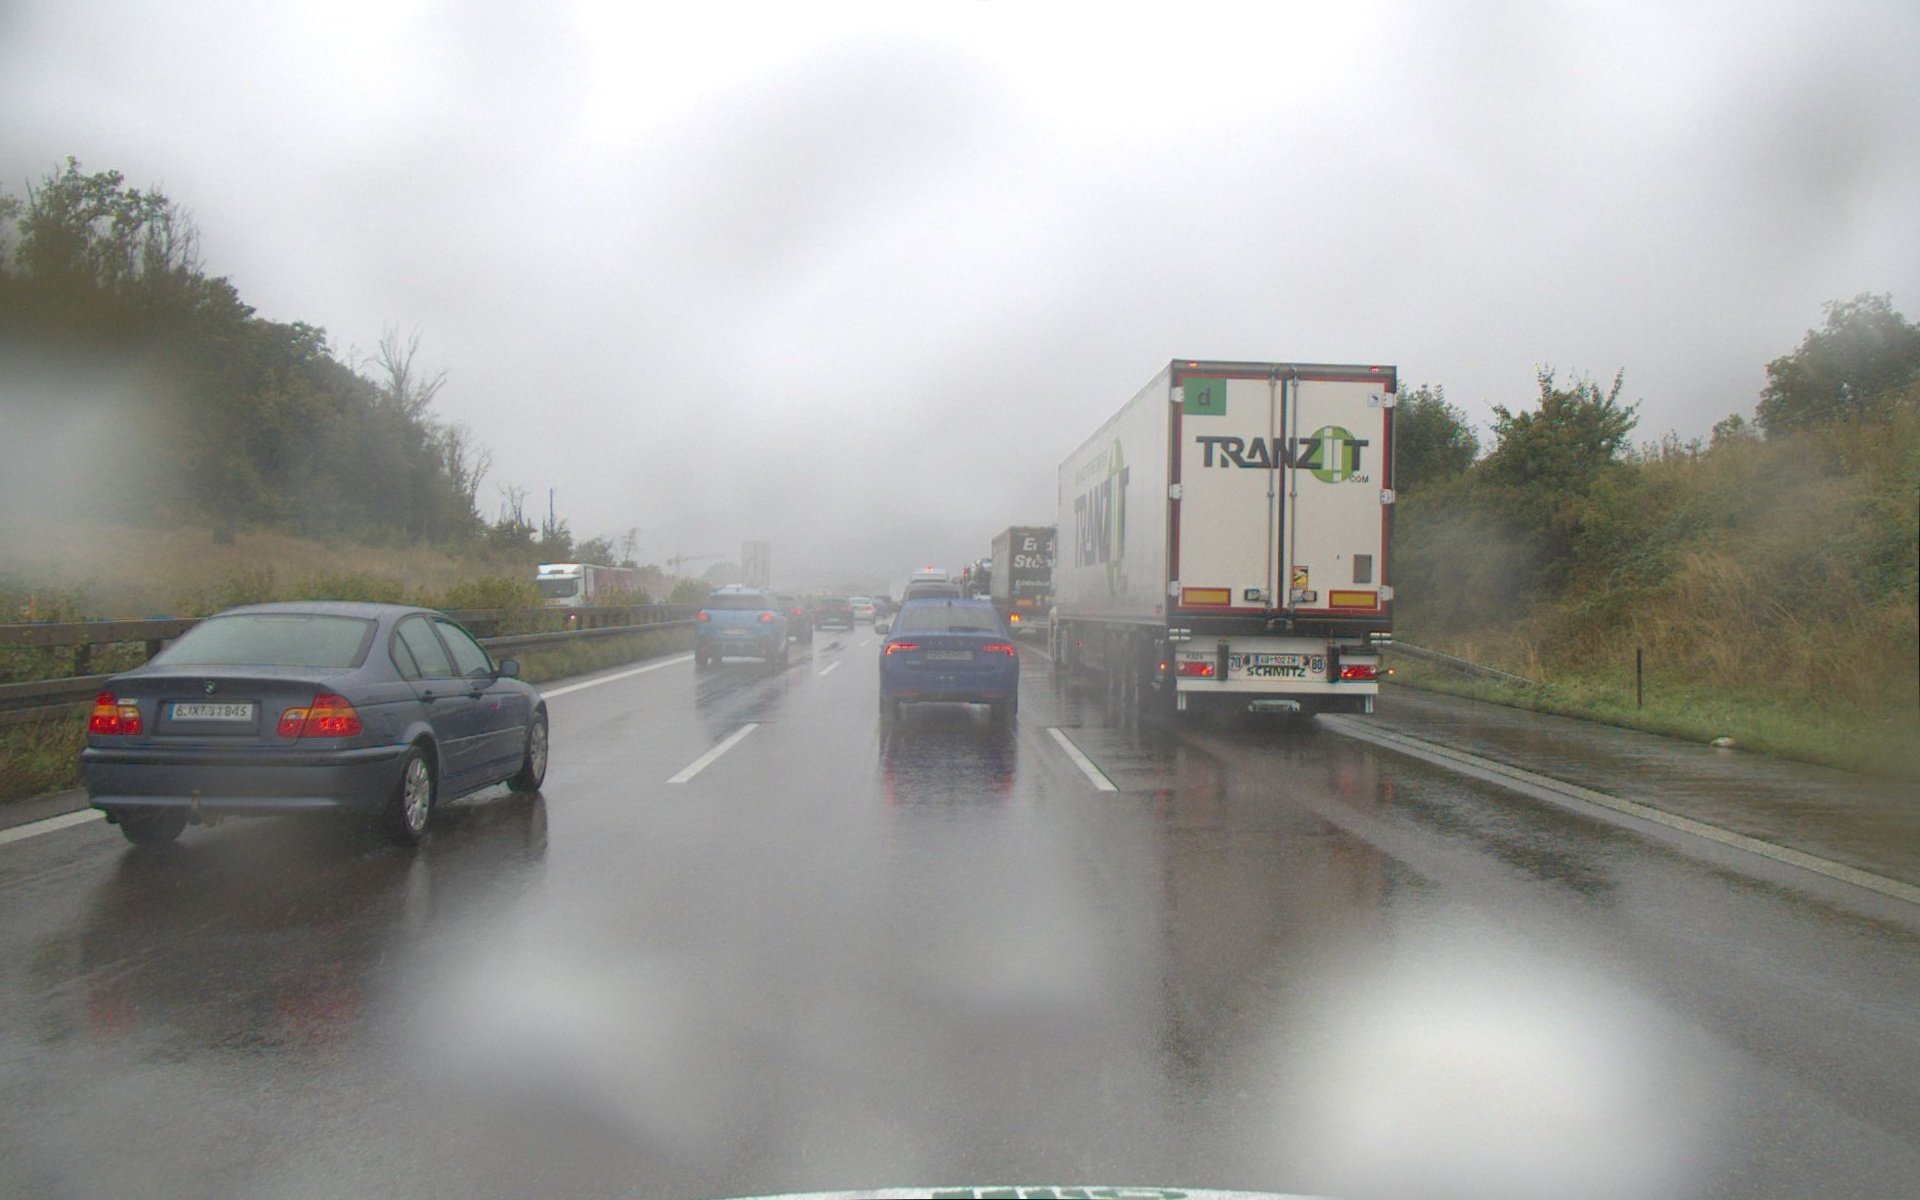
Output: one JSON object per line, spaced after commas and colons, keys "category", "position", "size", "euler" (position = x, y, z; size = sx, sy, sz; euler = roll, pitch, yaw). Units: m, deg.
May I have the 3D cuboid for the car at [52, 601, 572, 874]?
{"category": "car", "position": [-3.910, 0.725, 10.830], "size": [1.682, 1.424, 4.230], "euler": [0, 0, 1]}

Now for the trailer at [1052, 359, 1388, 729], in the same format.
{"category": "trailer", "position": [3.293, -0.657, 25.638], "size": [2.577, 4.083, 14.625], "euler": [0, 0, -1]}

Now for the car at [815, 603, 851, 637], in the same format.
{"category": "car", "position": [-5.699, 0.883, 74.449], "size": [1.410, 1.445, 3.321], "euler": [0, 0, -1]}

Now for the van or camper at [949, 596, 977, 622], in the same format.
{"category": "van or camper", "position": [0.191, 0.613, 112.159], "size": [1.736, 1.653, 4.483], "euler": [0, 1, -2]}

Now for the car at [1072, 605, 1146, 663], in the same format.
{"category": "car", "position": [3.574, 0.795, 40.127], "size": [1.395, 1.310, 3.460], "euler": [0, 0, -1]}

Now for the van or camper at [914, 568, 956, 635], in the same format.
{"category": "van or camper", "position": [-1.108, 0.053, 72.559], "size": [1.761, 2.855, 4.766], "euler": [0, 0, -1]}

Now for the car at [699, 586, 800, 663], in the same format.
{"category": "car", "position": [-4.469, 0.497, 35.609], "size": [1.686, 1.550, 4.000], "euler": [0, 0, 0]}

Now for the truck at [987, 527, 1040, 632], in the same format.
{"category": "truck", "position": [2.207, -0.848, 69.619], "size": [2.005, 4.266, 3.999], "euler": [0, 0, -1]}

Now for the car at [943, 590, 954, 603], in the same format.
{"category": "car", "position": [-1.680, -0.473, 238.261], "size": [1.419, 1.815, 3.408], "euler": [1, 0, -1]}

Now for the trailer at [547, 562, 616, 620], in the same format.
{"category": "trailer", "position": [-21.799, -0.506, 95.739], "size": [1.953, 3.136, 9.552], "euler": [1, 0, -1]}

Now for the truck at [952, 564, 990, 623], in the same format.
{"category": "truck", "position": [0.656, -0.452, 102.457], "size": [1.953, 3.481, 8.028], "euler": [0, 1, -2]}

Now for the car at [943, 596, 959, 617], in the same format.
{"category": "car", "position": [-0.820, 0.579, 150.164], "size": [1.419, 1.815, 3.408], "euler": [1, 0, -1]}

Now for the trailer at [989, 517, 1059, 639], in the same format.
{"category": "trailer", "position": [2.335, -0.793, 63.641], "size": [2.005, 4.250, 11.445], "euler": [0, 0, -1]}

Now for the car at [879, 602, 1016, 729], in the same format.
{"category": "car", "position": [-0.160, 0.773, 21.414], "size": [1.602, 1.470, 3.999], "euler": [0, 0, -1]}

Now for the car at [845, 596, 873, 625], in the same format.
{"category": "car", "position": [-5.575, 0.590, 91.707], "size": [1.410, 1.560, 3.321], "euler": [0, 0, -1]}

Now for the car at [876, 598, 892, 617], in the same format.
{"category": "car", "position": [-7.337, 0.694, 158.893], "size": [1.419, 1.815, 3.408], "euler": [1, 0, -1]}

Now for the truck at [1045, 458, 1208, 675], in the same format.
{"category": "truck", "position": [3.144, -0.615, 32.308], "size": [2.577, 3.894, 4.790], "euler": [0, 0, -1]}

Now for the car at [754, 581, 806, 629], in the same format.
{"category": "car", "position": [-5.615, 0.139, 51.747], "size": [1.331, 1.456, 3.363], "euler": [0, 0, -1]}

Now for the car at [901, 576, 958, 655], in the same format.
{"category": "car", "position": [-0.735, 0.354, 40.022], "size": [1.309, 1.811, 3.321], "euler": [0, 0, -1]}
